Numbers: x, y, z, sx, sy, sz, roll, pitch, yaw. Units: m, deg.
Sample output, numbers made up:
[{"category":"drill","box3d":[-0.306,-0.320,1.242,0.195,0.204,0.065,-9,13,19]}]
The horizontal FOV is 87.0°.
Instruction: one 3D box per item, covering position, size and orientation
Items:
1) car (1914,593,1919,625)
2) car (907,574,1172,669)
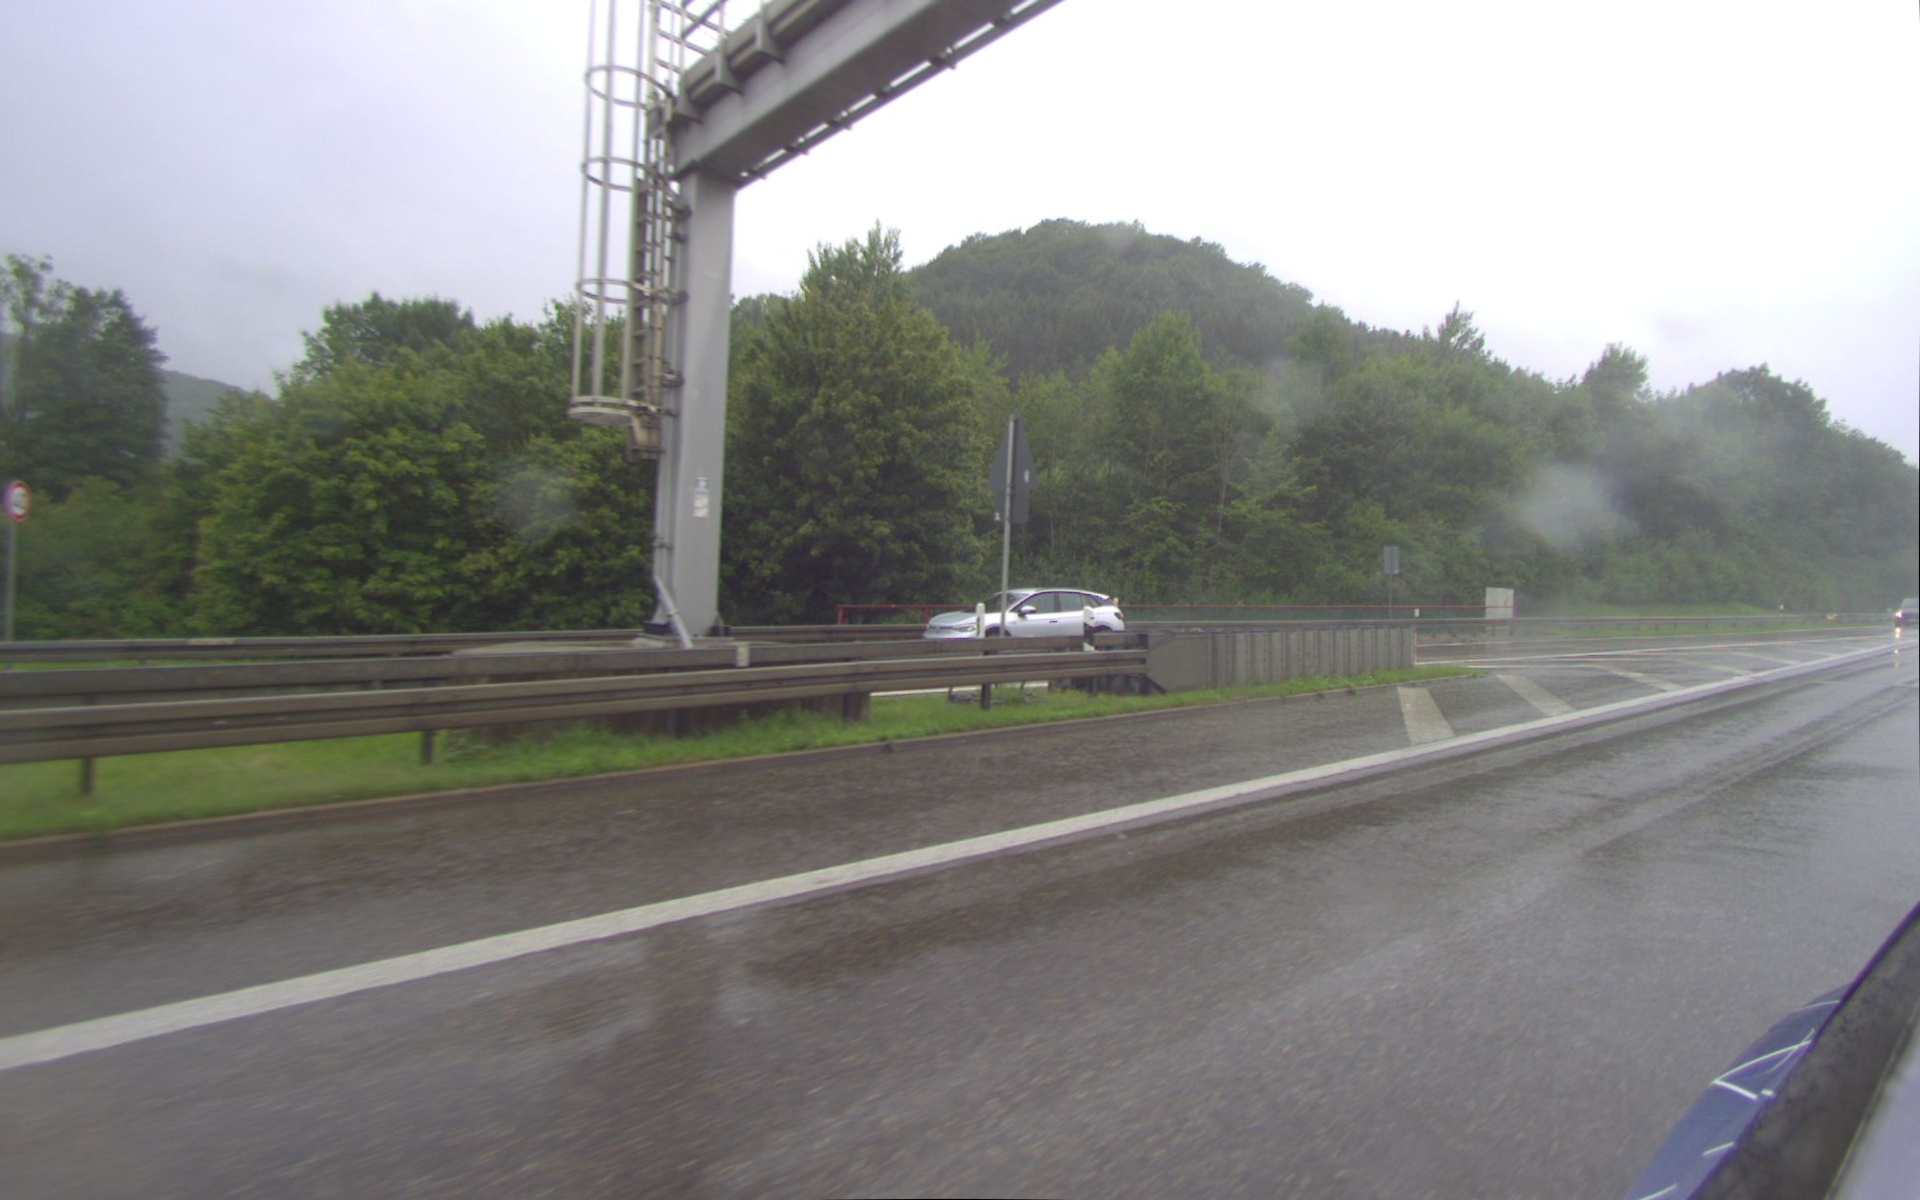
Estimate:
[{"category":"car","box3d":[62.131,0.584,64.112,3.926,2.039,1.859,0,0,-38]},{"category":"car","box3d":[1.766,0.372,21.181,5.555,1.772,2.000,-1,0,-36]}]
